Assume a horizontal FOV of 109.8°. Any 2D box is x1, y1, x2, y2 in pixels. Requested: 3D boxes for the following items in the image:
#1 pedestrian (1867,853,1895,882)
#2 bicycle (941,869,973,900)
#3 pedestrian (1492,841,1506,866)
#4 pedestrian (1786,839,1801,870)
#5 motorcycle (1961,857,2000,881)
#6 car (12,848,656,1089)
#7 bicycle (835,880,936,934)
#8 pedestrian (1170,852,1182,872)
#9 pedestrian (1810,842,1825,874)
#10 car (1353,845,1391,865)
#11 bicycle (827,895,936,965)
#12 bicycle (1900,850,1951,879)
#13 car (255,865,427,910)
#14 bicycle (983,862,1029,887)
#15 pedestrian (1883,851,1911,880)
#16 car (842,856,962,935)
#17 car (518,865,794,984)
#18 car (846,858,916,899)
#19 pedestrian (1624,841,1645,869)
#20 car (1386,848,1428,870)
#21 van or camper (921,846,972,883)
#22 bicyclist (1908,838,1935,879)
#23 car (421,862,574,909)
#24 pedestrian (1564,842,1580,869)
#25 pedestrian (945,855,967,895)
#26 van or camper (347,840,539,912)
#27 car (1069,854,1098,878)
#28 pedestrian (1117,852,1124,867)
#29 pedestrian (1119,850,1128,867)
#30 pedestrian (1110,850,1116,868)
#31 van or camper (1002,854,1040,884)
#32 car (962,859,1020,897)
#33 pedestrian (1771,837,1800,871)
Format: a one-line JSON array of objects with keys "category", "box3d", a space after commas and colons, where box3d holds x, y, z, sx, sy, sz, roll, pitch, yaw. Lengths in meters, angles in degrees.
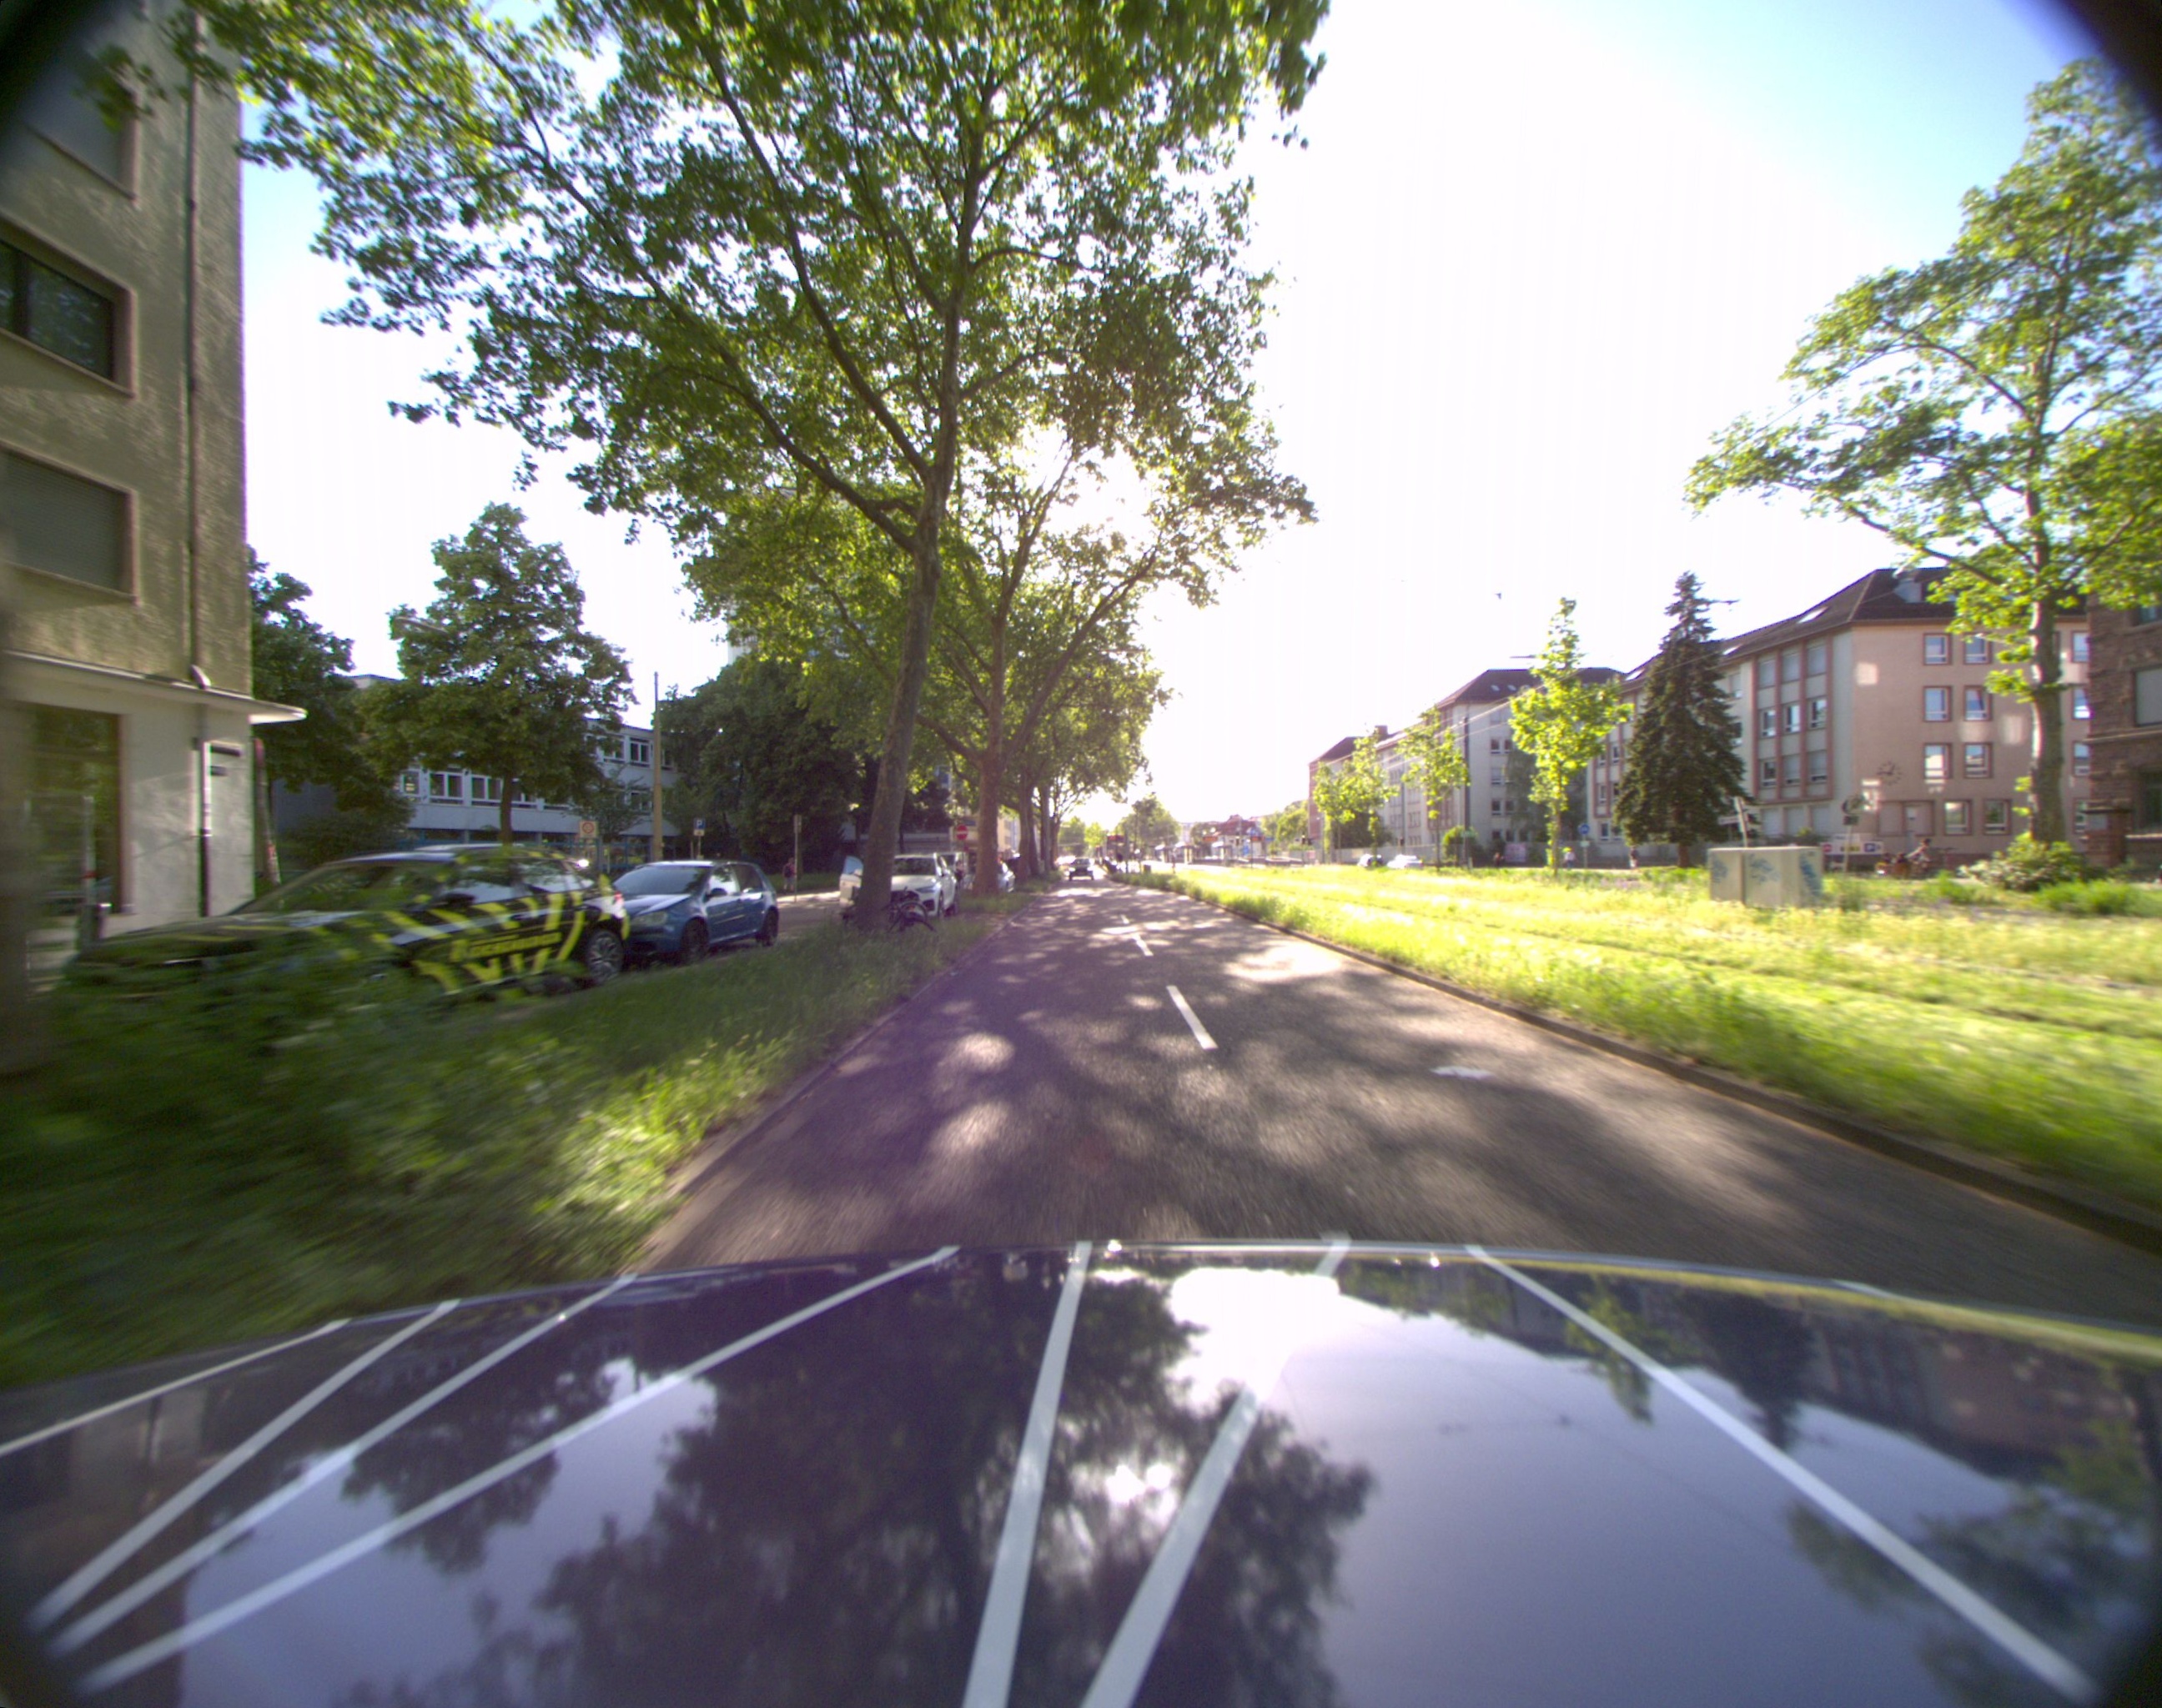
[{"category": "pedestrian", "box3d": [31.026, 0.532, 29.468, 0.587, 1.093, 0.479, -1, 0, -1]}, {"category": "bicycle", "box3d": [-4.004, 0.962, 24.663, 0.640, 0.920, 2.164, -1, 0, 0]}, {"category": "pedestrian", "box3d": [33.134, -0.028, 60.241, 0.664, 2.002, 0.860, -1, 1, 0]}, {"category": "pedestrian", "box3d": [38.491, 0.015, 41.051, 0.376, 1.685, 0.449, -1, 0, 6]}, {"category": "motorcycle", "box3d": [37.055, 0.604, 31.324, 0.335, 0.941, 1.044, -1, 0, -3]}, {"category": "car", "box3d": [-5.990, 0.770, 7.011, 1.699, 1.521, 4.262, -1, -1, 1]}, {"category": "bicycle", "box3d": [-3.777, 1.004, 14.747, 1.767, 0.922, 0.652, -1, 1, -40]}, {"category": "pedestrian", "box3d": [8.197, 0.692, 65.519, 0.955, 1.725, 0.730, -1, 0, 3]}, {"category": "pedestrian", "box3d": [39.413, 0.195, 40.642, 0.376, 1.685, 0.449, -1, 0, 7]}, {"category": "car", "box3d": [25.883, 0.104, 67.686, 1.998, 1.697, 4.150, -1, 0, 4]}, {"category": "bicycle", "box3d": [-3.111, 1.183, 11.868, 1.596, 1.052, 0.404, -1, 1, 7]}, {"category": "bicycle", "box3d": [31.073, 0.387, 27.974, 0.463, 1.061, 1.175, -1, 0, -9]}, {"category": "car", "box3d": [-30.671, 1.343, 31.748, 1.996, 1.659, 4.750, -1, 0, 15]}, {"category": "bicycle", "box3d": [-3.544, 0.946, 36.024, 2.075, 1.118, 0.677, -1, 1, -1]}, {"category": "pedestrian", "box3d": [31.032, 0.424, 28.898, 0.445, 1.093, 0.587, -1, 0, -4]}, {"category": "car", "box3d": [-4.143, 0.872, 18.391, 1.908, 1.626, 4.823, -1, 0, -2]}, {"category": "car", "box3d": [-6.036, 0.898, 11.476, 1.718, 1.443, 4.262, -1, -1, 1]}, {"category": "car", "box3d": [-9.220, 1.078, 35.510, 1.824, 1.732, 5.167, -1, 0, 1]}, {"category": "pedestrian", "box3d": [34.248, 0.053, 47.021, 0.683, 1.685, 0.823, -1, 0, -18]}, {"category": "car", "box3d": [25.196, 0.405, 58.891, 1.769, 1.613, 4.477, -1, 0, 6]}, {"category": "van or camper", "box3d": [-8.947, 0.653, 51.041, 2.297, 2.273, 5.822, -2, 0, 0]}, {"category": "bicyclist", "box3d": [31.050, 0.150, 28.066, 0.455, 1.490, 0.502, -1, 0, -9]}, {"category": "car", "box3d": [-22.708, 1.183, 29.803, 1.996, 1.618, 4.395, -1, 0, 15]}, {"category": "pedestrian", "box3d": [33.153, 0.086, 51.305, 0.694, 1.826, 0.573, -1, 1, 0]}, {"category": "pedestrian", "box3d": [-5.204, 0.882, 31.721, 0.689, 1.601, 0.713, -4, 0, 0]}, {"category": "van or camper", "box3d": [-25.286, 0.792, 30.482, 2.150, 2.621, 5.594, -1, 0, 16]}, {"category": "car", "box3d": [0.241, 0.899, 57.769, 1.979, 1.660, 4.620, -2, 0, 2]}, {"category": "pedestrian", "box3d": [4.548, 0.635, 87.223, 0.683, 1.773, 0.754, -2, 1, 1]}, {"category": "pedestrian", "box3d": [4.065, 0.435, 73.138, 0.714, 1.670, 0.772, -2, 0, -1]}, {"category": "pedestrian", "box3d": [3.721, 0.572, 88.125, 0.669, 2.002, 0.716, -2, 1, 2]}, {"category": "van or camper", "box3d": [-3.368, 0.805, 42.352, 1.506, 1.578, 2.836, -1, 0, -16]}, {"category": "car", "box3d": [-3.671, 0.947, 31.809, 1.758, 1.390, 5.026, -1, 0, 0]}, {"category": "pedestrian", "box3d": [35.005, 0.002, 37.750, 0.683, 1.685, 0.882, -2, 0, -28]}]
